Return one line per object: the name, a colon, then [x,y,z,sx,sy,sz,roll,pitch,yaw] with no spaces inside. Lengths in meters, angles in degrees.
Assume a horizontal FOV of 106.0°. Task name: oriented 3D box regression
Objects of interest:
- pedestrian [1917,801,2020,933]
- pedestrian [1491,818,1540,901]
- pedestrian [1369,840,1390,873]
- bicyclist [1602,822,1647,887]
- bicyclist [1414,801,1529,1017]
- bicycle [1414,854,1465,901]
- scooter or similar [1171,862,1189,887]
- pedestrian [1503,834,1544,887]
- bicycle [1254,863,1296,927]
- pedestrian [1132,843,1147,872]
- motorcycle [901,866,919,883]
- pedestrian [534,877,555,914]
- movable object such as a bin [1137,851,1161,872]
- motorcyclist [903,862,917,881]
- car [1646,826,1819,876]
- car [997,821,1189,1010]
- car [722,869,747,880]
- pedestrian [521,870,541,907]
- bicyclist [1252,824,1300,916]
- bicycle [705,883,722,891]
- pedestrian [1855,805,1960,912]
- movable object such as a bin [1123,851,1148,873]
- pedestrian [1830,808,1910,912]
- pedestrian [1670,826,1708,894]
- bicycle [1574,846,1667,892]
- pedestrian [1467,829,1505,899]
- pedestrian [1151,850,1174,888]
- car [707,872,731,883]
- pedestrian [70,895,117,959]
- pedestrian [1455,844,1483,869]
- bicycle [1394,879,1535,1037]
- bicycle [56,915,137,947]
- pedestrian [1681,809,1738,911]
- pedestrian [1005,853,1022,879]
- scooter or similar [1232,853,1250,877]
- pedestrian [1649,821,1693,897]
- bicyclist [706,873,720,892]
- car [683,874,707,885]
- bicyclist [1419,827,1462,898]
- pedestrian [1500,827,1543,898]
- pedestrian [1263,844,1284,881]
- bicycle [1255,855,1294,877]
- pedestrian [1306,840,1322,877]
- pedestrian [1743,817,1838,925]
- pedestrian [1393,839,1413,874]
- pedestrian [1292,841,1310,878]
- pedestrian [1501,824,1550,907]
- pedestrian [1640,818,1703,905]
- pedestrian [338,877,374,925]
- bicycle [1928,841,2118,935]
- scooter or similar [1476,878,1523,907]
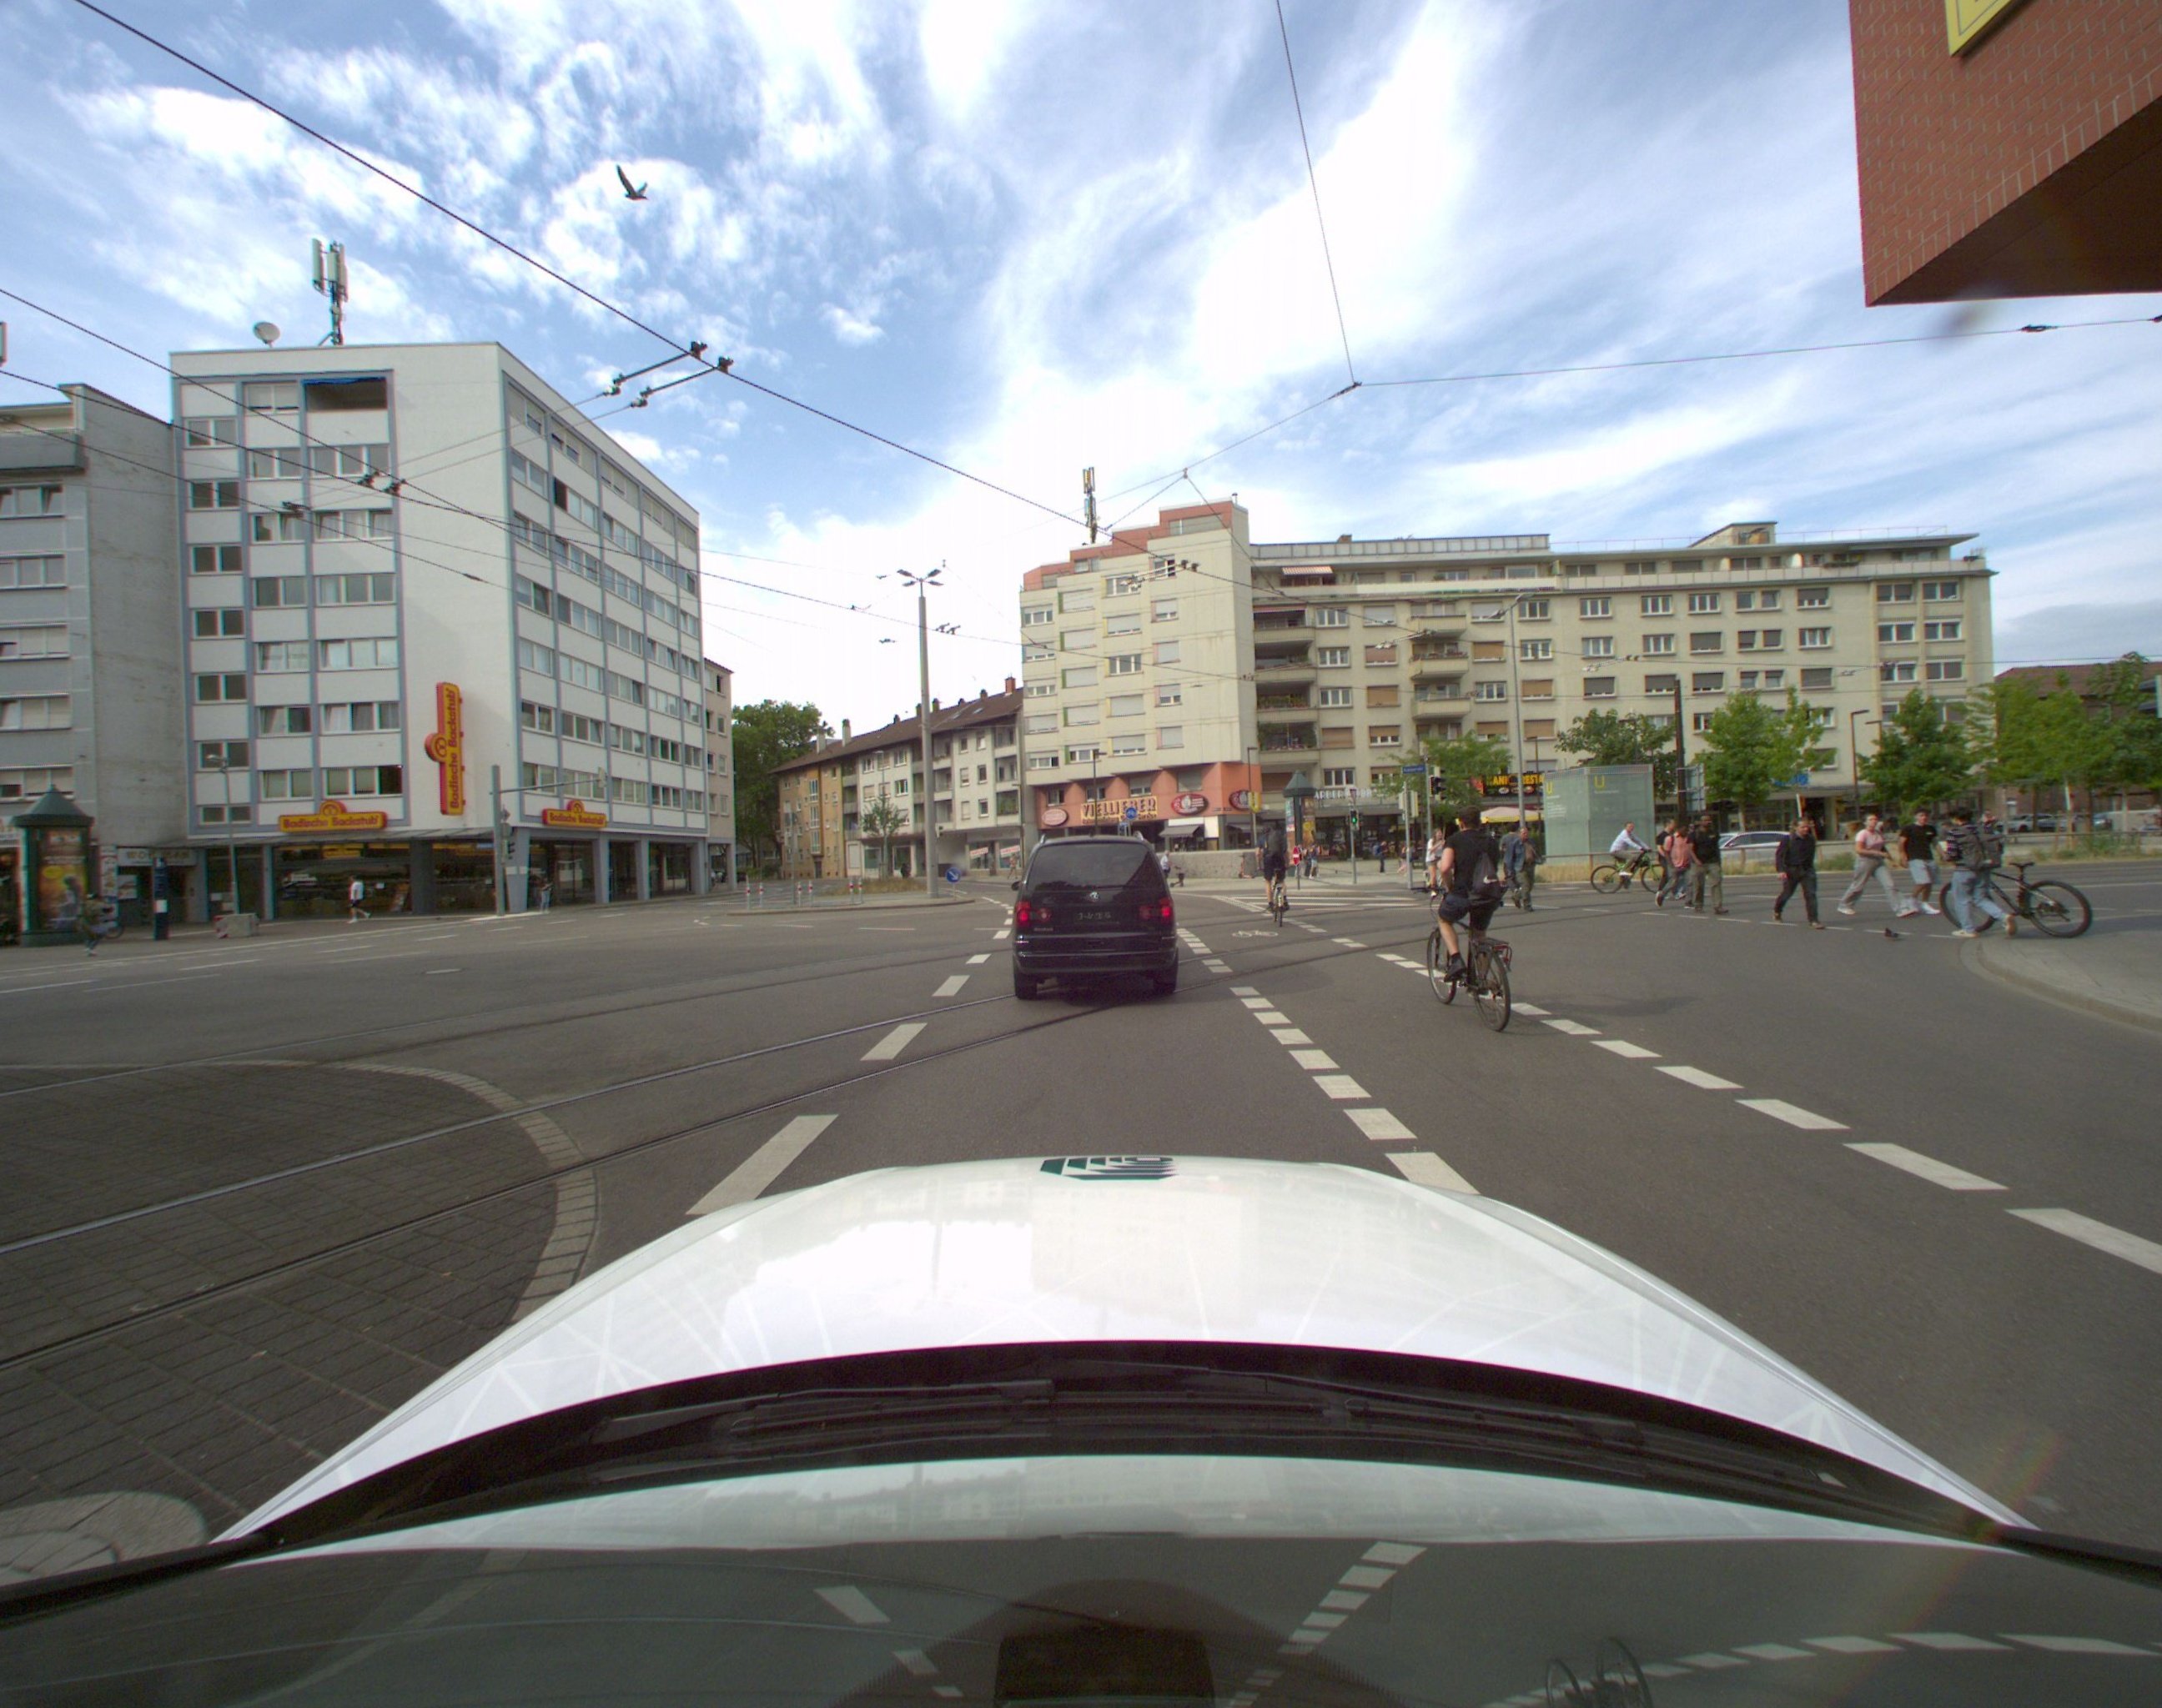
pedestrian: [11.828,0.169,10.879,0.517,1.686,0.726,-2,0,2]
pedestrian: [10.121,0.128,18.998,0.636,1.854,0.877,-2,0,1]
pedestrian: [14.674,0.120,40.030,0.815,1.576,0.415,-2,0,2]
bicyclist: [13.677,0.016,20.481,0.851,1.603,0.647,-3,-1,37]
bicyclist: [3.311,0.444,6.977,0.556,1.709,0.864,-2,0,5]
bicycle: [8.965,0.560,20.462,0.389,1.122,2.077,-2,0,2]
scooter or similar: [4.706,0.967,38.713,0.695,1.110,0.611,-3,0,13]
pedestrian: [12.883,0.189,23.730,0.552,1.501,0.843,-2,-2,-15]
bicycle: [3.750,0.759,15.844,0.389,1.122,1.921,-2,0,2]
pedestrian: [3.892,0.221,54.118,0.678,1.903,0.583,-5,2,-43]
motorcycle: [-12.529,1.499,59.683,0.917,1.105,2.686,-2,0,-4]
pedestrian: [-23.654,1.816,35.912,0.497,1.559,0.518,-2,0,1]
movable object such as a bin: [4.925,0.547,59.135,1.205,1.515,1.182,-2,-1,-45]
motorcyclist: [-12.531,1.262,59.692,0.901,1.341,0.712,-2,0,-5]
car: [23.384,-0.097,29.362,4.571,1.512,2.001,-3,0,1]
car: [0.101,0.603,9.840,1.807,1.766,3.736,-2,0,-1]
car: [-44.548,2.636,104.740,1.673,1.422,3.818,-2,0,-44]
pedestrian: [-26.939,1.701,39.888,0.474,1.765,0.589,-2,0,1]
bicyclist: [3.797,0.306,15.920,0.695,1.709,0.908,-2,0,2]
bicycle: [-32.453,2.927,71.899,0.481,0.588,2.000,-2,0,4]
pedestrian: [13.984,0.076,13.811,0.644,1.714,1.056,-2,0,1]
movable object such as a bin: [3.903,0.565,58.251,1.156,1.460,1.209,-2,0,-45]
pedestrian: [13.201,0.096,13.642,0.644,1.688,0.651,-2,0,1]
pedestrian: [13.807,0.130,18.489,0.621,1.511,0.597,-2,0,39]
bicycle: [13.520,0.391,20.450,1.895,1.087,0.394,-3,-1,37]
pedestrian: [10.107,0.241,20.342,0.467,1.686,0.795,-2,-1,-4]
pedestrian: [3.899,0.719,38.901,0.928,1.740,0.688,-3,0,15]
car: [-48.282,3.149,108.482,1.673,1.422,3.898,-2,0,-44]
pedestrian: [-26.132,1.919,21.557,0.664,1.594,0.680,-2,0,-42]
pedestrian: [20.281,0.128,42.598,1.026,1.245,0.935,0,-1,4]
bicycle: [3.324,0.829,7.244,0.404,1.122,2.019,-2,0,4]
bicycle: [-35.087,2.733,29.047,1.791,0.989,0.469,-2,0,-24]
pedestrian: [11.401,0.103,14.784,0.539,1.797,0.561,-2,0,1]
pedestrian: [-5.073,0.917,60.852,0.662,1.852,0.960,-6,1,-40]
scooter or similar: [8.240,0.586,41.951,0.286,1.212,1.117,-2,-1,-22]
pedestrian: [13.132,0.101,18.111,0.712,1.648,0.711,-2,0,39]
bicyclist: [-32.409,2.495,71.695,0.605,1.646,1.039,-2,0,4]
car: [-54.821,3.570,115.494,1.691,1.394,4.405,-1,-1,-45]
bicyclist: [8.960,0.199,20.344,0.638,1.709,0.863,-2,0,2]
pedestrian: [10.833,0.204,20.035,0.631,1.695,0.706,-2,0,1]
pedestrian: [8.983,0.390,38.011,0.800,1.680,0.627,-3,0,2]
bicycle: [10.045,0.601,42.151,2.461,1.013,0.538,-3,0,-40]
pedestrian: [11.090,0.223,38.803,0.591,1.737,0.415,-2,0,1]
pedestrian: [11.042,0.255,12.710,0.616,1.601,0.922,-2,0,1]
pedestrian: [15.172,0.116,38.387,0.674,1.641,0.440,-2,0,1]
pedestrian: [10.628,0.249,39.299,0.697,1.737,0.415,-2,0,1]
pedestrian: [9.245,0.233,16.939,0.636,1.687,0.600,-2,0,1]
pedestrian: [11.606,0.143,16.023,0.539,1.651,0.893,-2,0,1]
pedestrian: [-29.089,1.896,32.687,0.859,1.859,0.581,-2,0,0]
bicycle: [12.311,0.413,10.738,0.395,1.110,1.831,-2,0,2]
scooter or similar: [9.053,0.828,17.633,0.506,0.574,0.813,-2,-1,-8]
